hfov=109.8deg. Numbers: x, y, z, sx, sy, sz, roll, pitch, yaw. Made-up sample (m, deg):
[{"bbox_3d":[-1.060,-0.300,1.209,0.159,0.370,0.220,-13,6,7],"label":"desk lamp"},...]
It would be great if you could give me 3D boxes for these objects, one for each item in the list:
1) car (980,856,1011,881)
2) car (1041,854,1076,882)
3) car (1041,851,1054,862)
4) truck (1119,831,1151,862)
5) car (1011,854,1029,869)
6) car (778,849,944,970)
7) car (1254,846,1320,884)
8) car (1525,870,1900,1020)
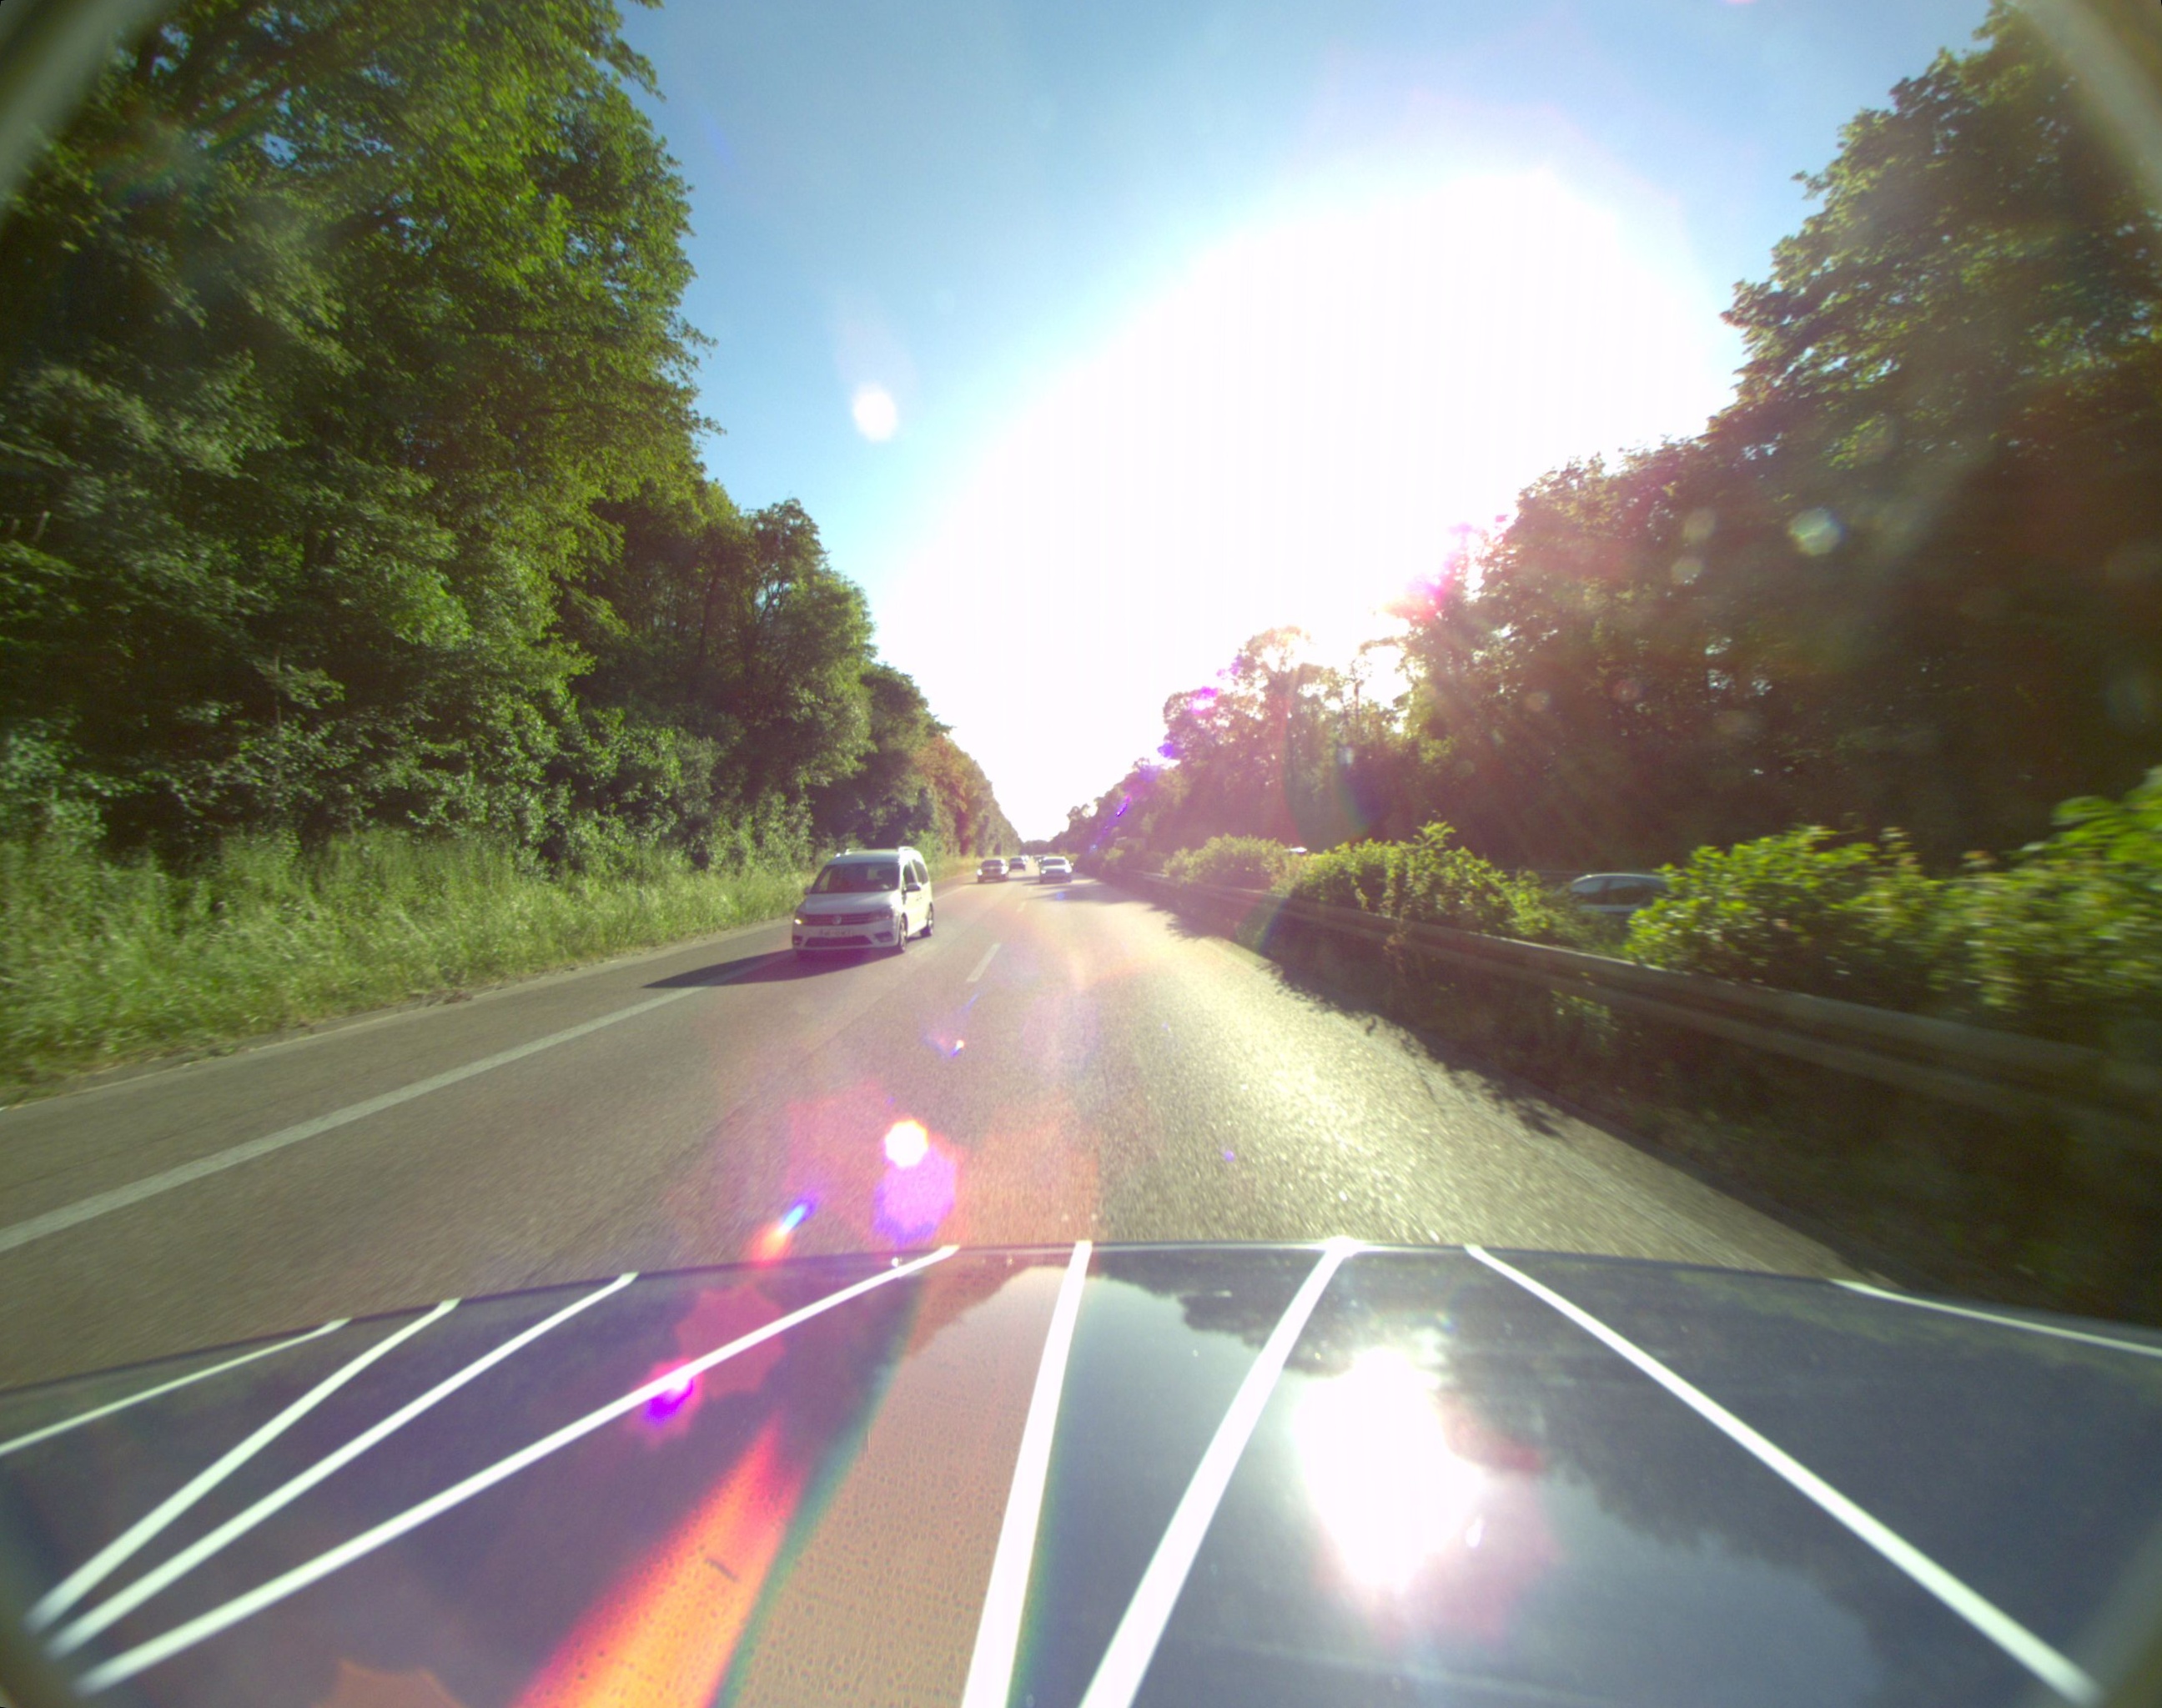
[{"bbox_3d":[-5.396,0.899,48.332,1.795,1.440,3.876,-2,0,-5],"label":"car"},{"bbox_3d":[-1.342,0.780,43.693,1.890,1.440,3.876,-2,0,-4],"label":"car"},{"bbox_3d":[-5.243,0.378,119.409,1.915,1.561,4.323,-2,1,-3],"label":"car"},{"bbox_3d":[7.500,-1.050,107.227,2.715,4.073,14.015,-2,1,-3],"label":"truck"},{"bbox_3d":[-6.533,0.771,81.523,1.795,1.440,3.876,-2,0,-5],"label":"car"},{"bbox_3d":[-3.859,0.850,14.182,1.804,1.802,4.586,-2,1,-2],"label":"car"},{"bbox_3d":[11.011,0.519,41.015,1.999,1.850,4.708,-2,1,-4],"label":"car"},{"bbox_3d":[8.048,1.033,10.269,1.711,1.449,3.999,-2,1,0],"label":"car"}]
